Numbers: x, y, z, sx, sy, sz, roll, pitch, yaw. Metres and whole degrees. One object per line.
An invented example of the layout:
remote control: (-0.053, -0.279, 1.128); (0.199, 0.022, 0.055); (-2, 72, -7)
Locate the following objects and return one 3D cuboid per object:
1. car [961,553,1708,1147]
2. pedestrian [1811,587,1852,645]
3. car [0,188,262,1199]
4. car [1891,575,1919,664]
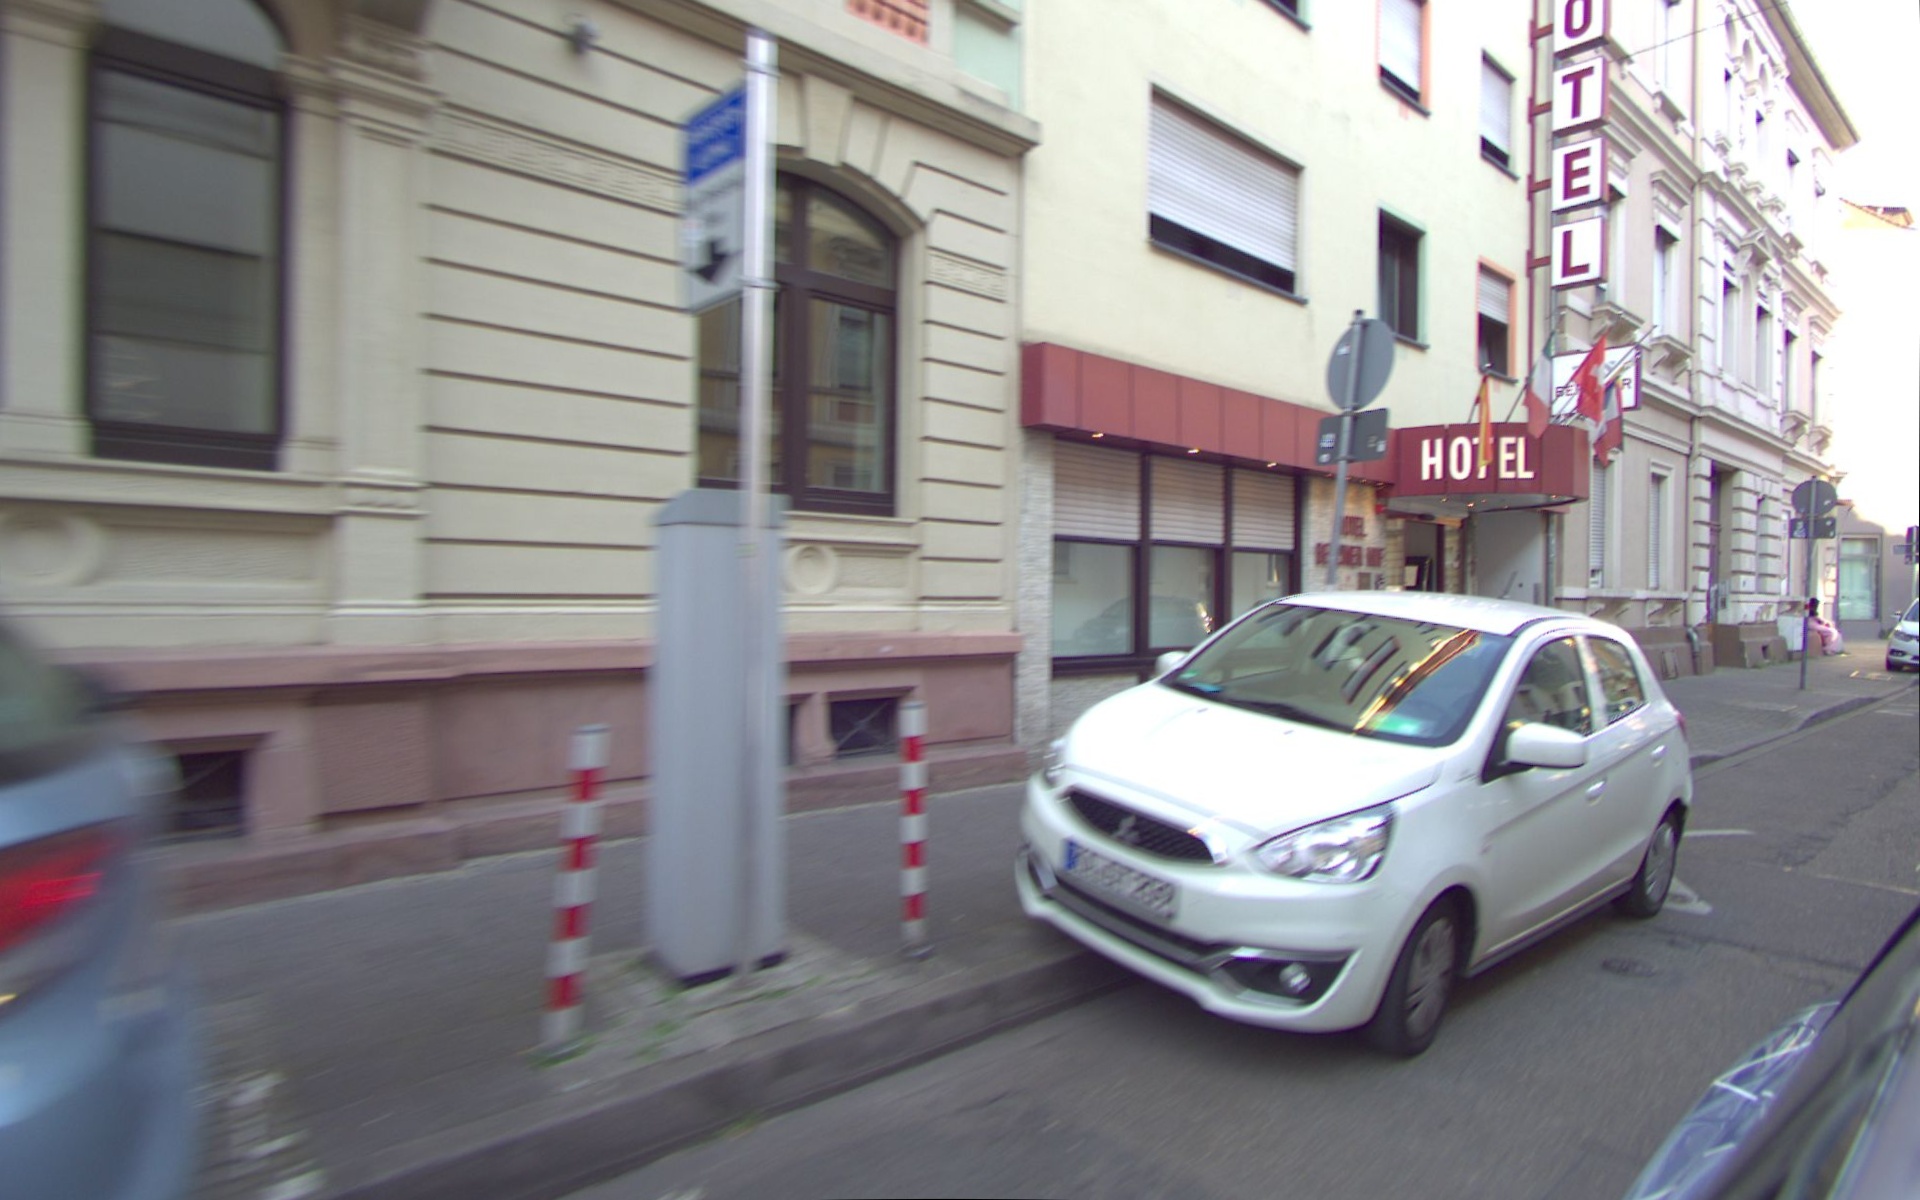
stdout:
car: (1.854, 0.664, 4.472); (3.526, 1.598, 1.573); (0, 0, -40)
pedestrian: (21.968, 0.392, 25.510); (0.475, 1.441, 0.696); (1, 0, -38)
car: (-2.895, 0.449, 0.524); (4.036, 1.763, 1.693); (0, 0, -40)
car: (20.828, 0.457, 20.745); (4.279, 1.715, 1.843); (0, 5, -39)
